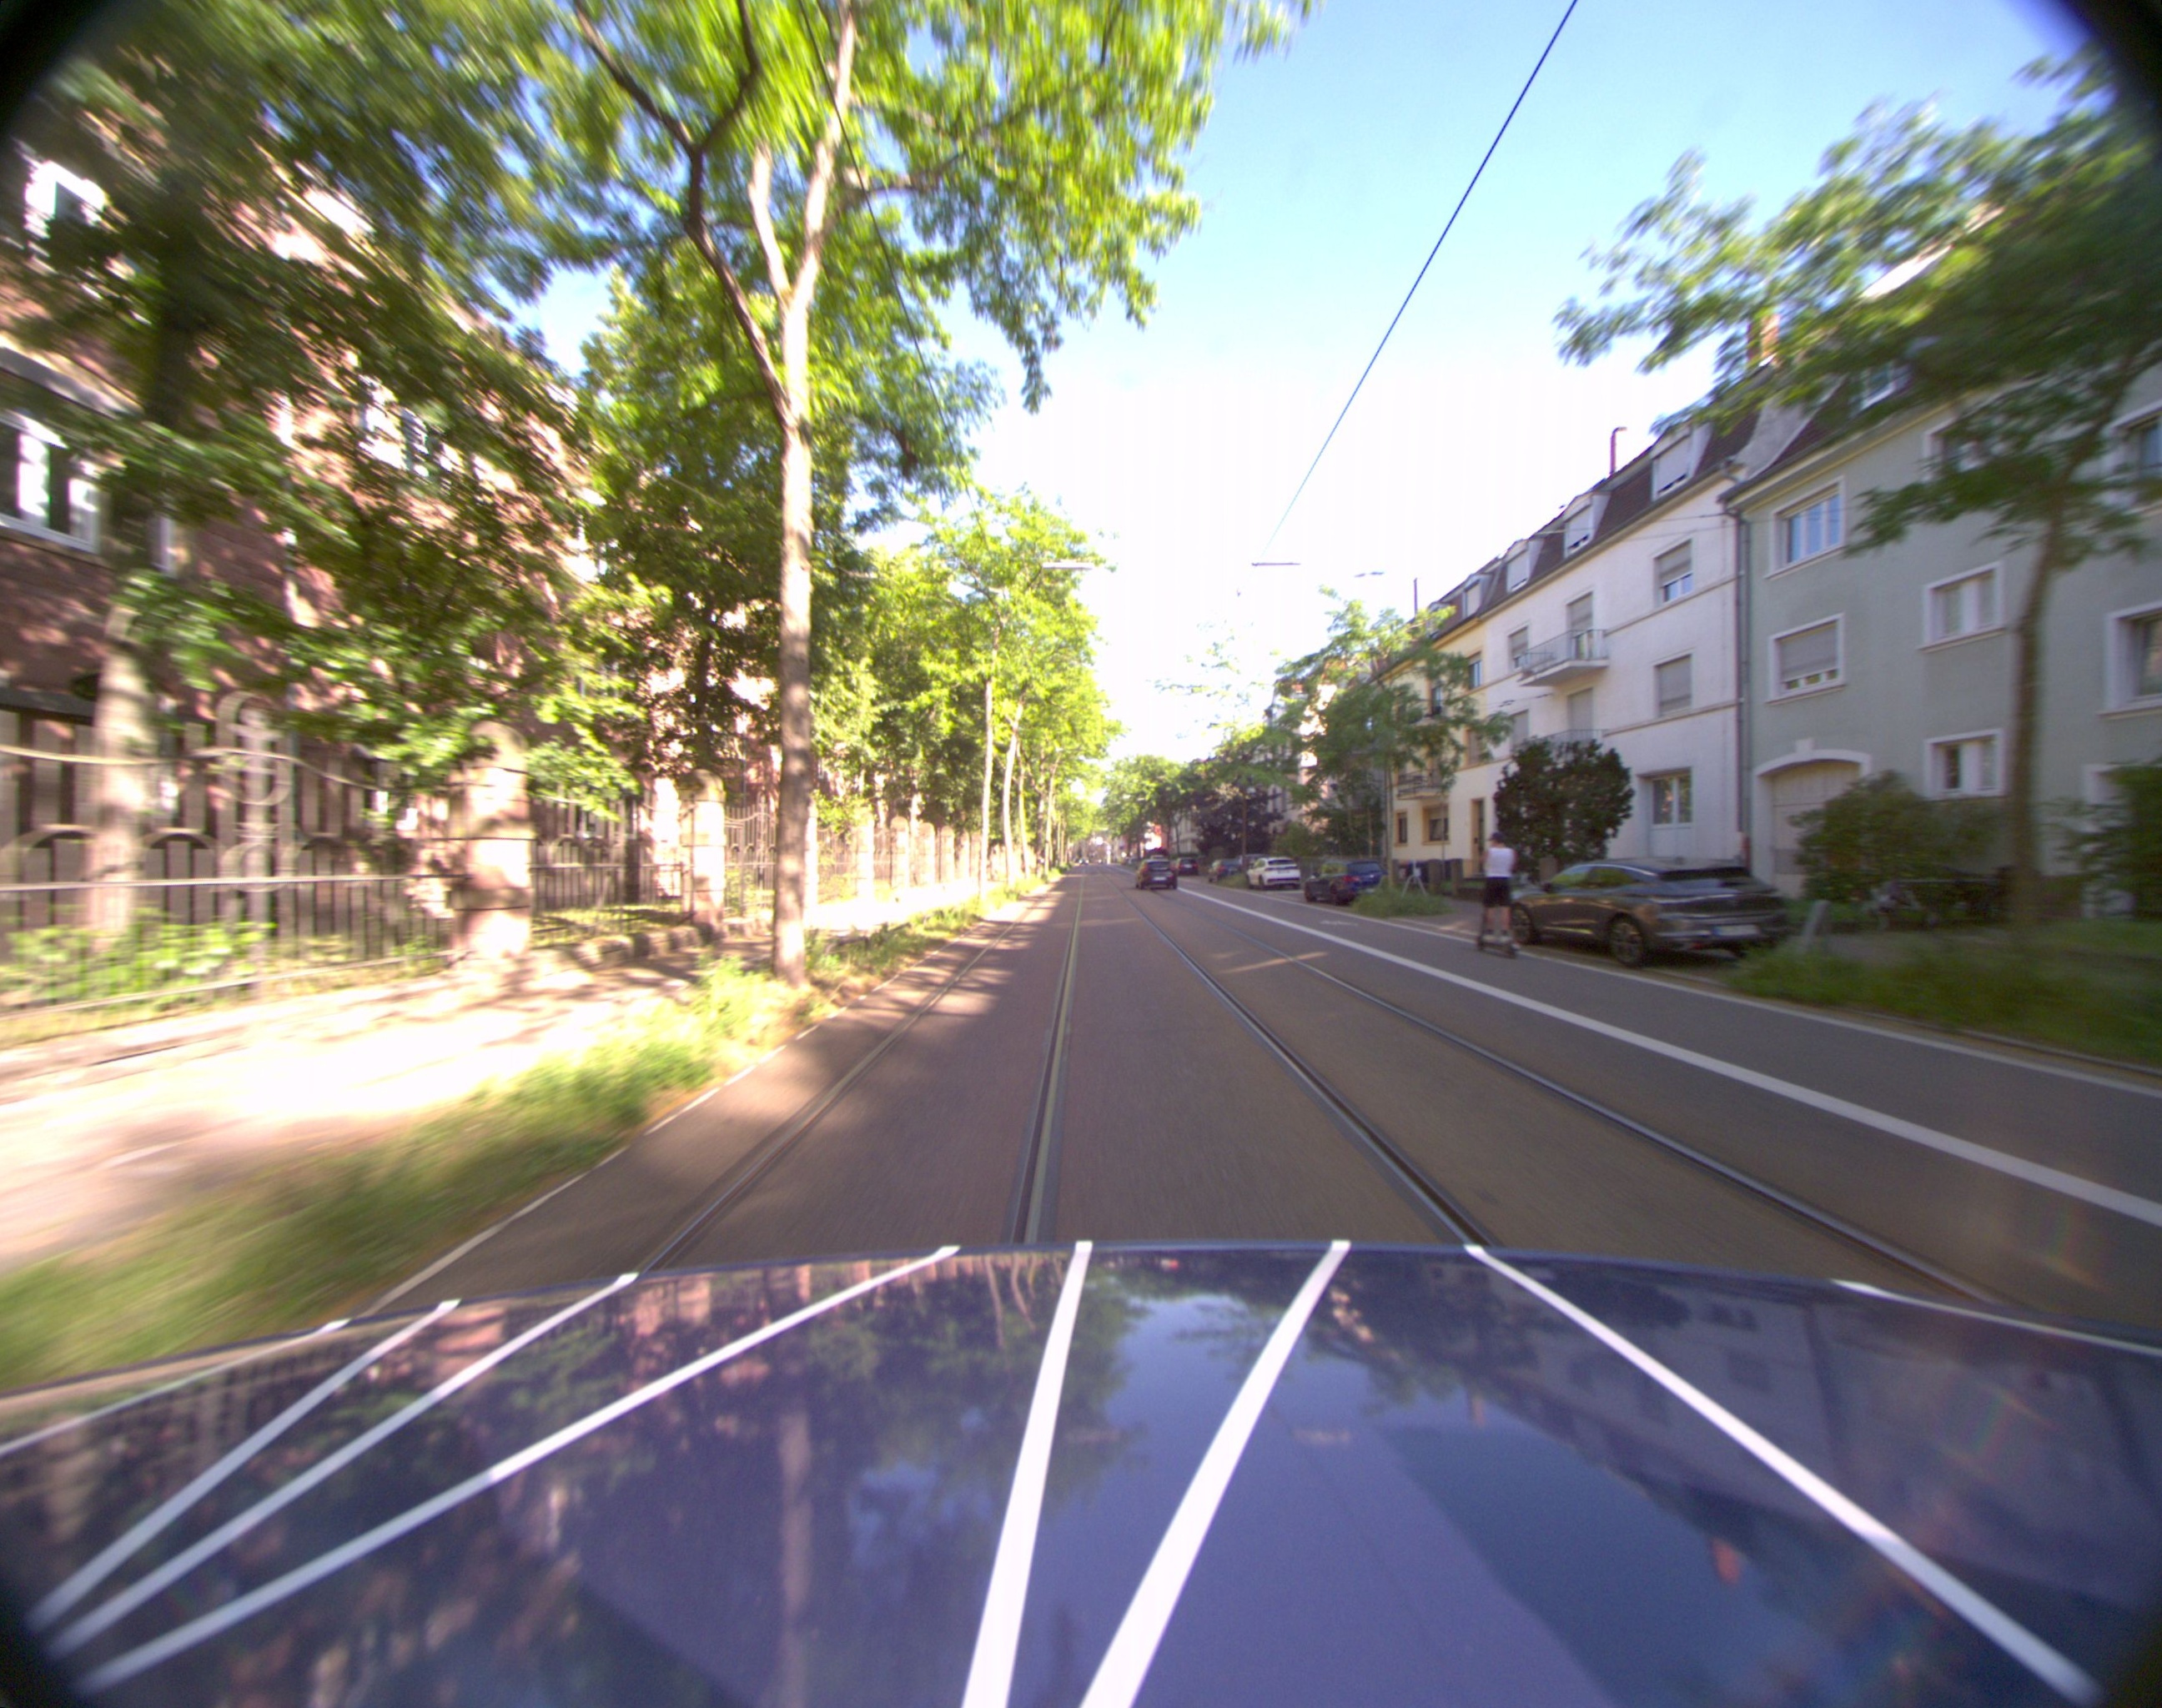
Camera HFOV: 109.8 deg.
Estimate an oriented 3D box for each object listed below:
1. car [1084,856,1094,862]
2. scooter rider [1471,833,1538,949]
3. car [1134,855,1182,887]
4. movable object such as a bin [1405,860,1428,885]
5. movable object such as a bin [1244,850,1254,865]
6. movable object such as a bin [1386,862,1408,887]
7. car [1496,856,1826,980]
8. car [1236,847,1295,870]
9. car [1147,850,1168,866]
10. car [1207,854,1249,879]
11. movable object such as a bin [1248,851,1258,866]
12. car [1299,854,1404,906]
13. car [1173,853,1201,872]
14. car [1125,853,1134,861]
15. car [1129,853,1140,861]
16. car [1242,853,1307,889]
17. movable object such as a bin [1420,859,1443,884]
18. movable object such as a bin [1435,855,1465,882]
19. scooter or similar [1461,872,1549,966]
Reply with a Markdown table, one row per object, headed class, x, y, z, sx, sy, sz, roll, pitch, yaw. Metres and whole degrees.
| class | x | y | z | sx | sy | sz | roll | pitch | yaw |
| --- | --- | --- | --- | --- | --- | --- | --- | --- | --- |
| car | 2.177 | 1.367 | 212.732 | 1.880 | 1.390 | 3.996 | -4 | 0 | -10 |
| scooter rider | 6.422 | 0.548 | 11.552 | 0.498 | 1.690 | 0.786 | 2 | 1 | 0 |
| car | 3.670 | 0.783 | 36.794 | 1.762 | 1.431 | 4.523 | -1 | 0 | -1 |
| movable object such as a bin | 13.539 | 0.734 | 30.676 | 0.561 | 0.970 | 0.733 | -3 | 0 | 4 |
| movable object such as a bin | 12.086 | 0.261 | 54.686 | 0.542 | 1.060 | 0.670 | -1 | 1 | 1 |
| movable object such as a bin | 12.785 | 0.833 | 30.776 | 0.561 | 0.970 | 0.733 | -3 | 0 | 4 |
| car | 8.393 | 0.808 | 11.596 | 1.821 | 1.476 | 4.206 | -2 | 0 | 0 |
| car | 14.552 | 0.335 | 60.115 | 4.177 | 1.649 | 1.983 | -2 | 0 | -1 |
| car | 9.215 | 0.494 | 91.582 | 1.875 | 1.812 | 4.771 | -2 | 0 | -1 |
| car | 8.973 | 0.743 | 46.672 | 1.710 | 1.398 | 4.333 | -2 | 0 | 0 |
| movable object such as a bin | 12.113 | 0.329 | 53.521 | 0.548 | 1.060 | 0.510 | -1 | 1 | 1 |
| car | 8.681 | 0.770 | 24.828 | 1.762 | 1.502 | 4.438 | -2 | 0 | -1 |
| car | 9.189 | 0.674 | 65.958 | 1.781 | 1.532 | 4.485 | -2 | 0 | 1 |
| car | 9.732 | 0.558 | 151.595 | 1.558 | 1.446 | 3.668 | -2 | 0 | 0 |
| car | 9.846 | 0.533 | 139.673 | 1.629 | 1.526 | 3.689 | -2 | 0 | -1 |
| car | 8.942 | 0.738 | 35.528 | 1.822 | 1.502 | 4.370 | -2 | 0 | -1 |
| movable object such as a bin | 14.139 | 0.696 | 30.672 | 0.561 | 0.970 | 0.733 | -3 | 0 | 4 |
| movable object such as a bin | 15.209 | 0.596 | 31.348 | 0.846 | 1.040 | 0.733 | -3 | 1 | 3 |
| scooter or similar | 6.405 | 0.949 | 11.556 | 0.521 | 1.290 | 1.377 | 2 | 0 | 0 |
